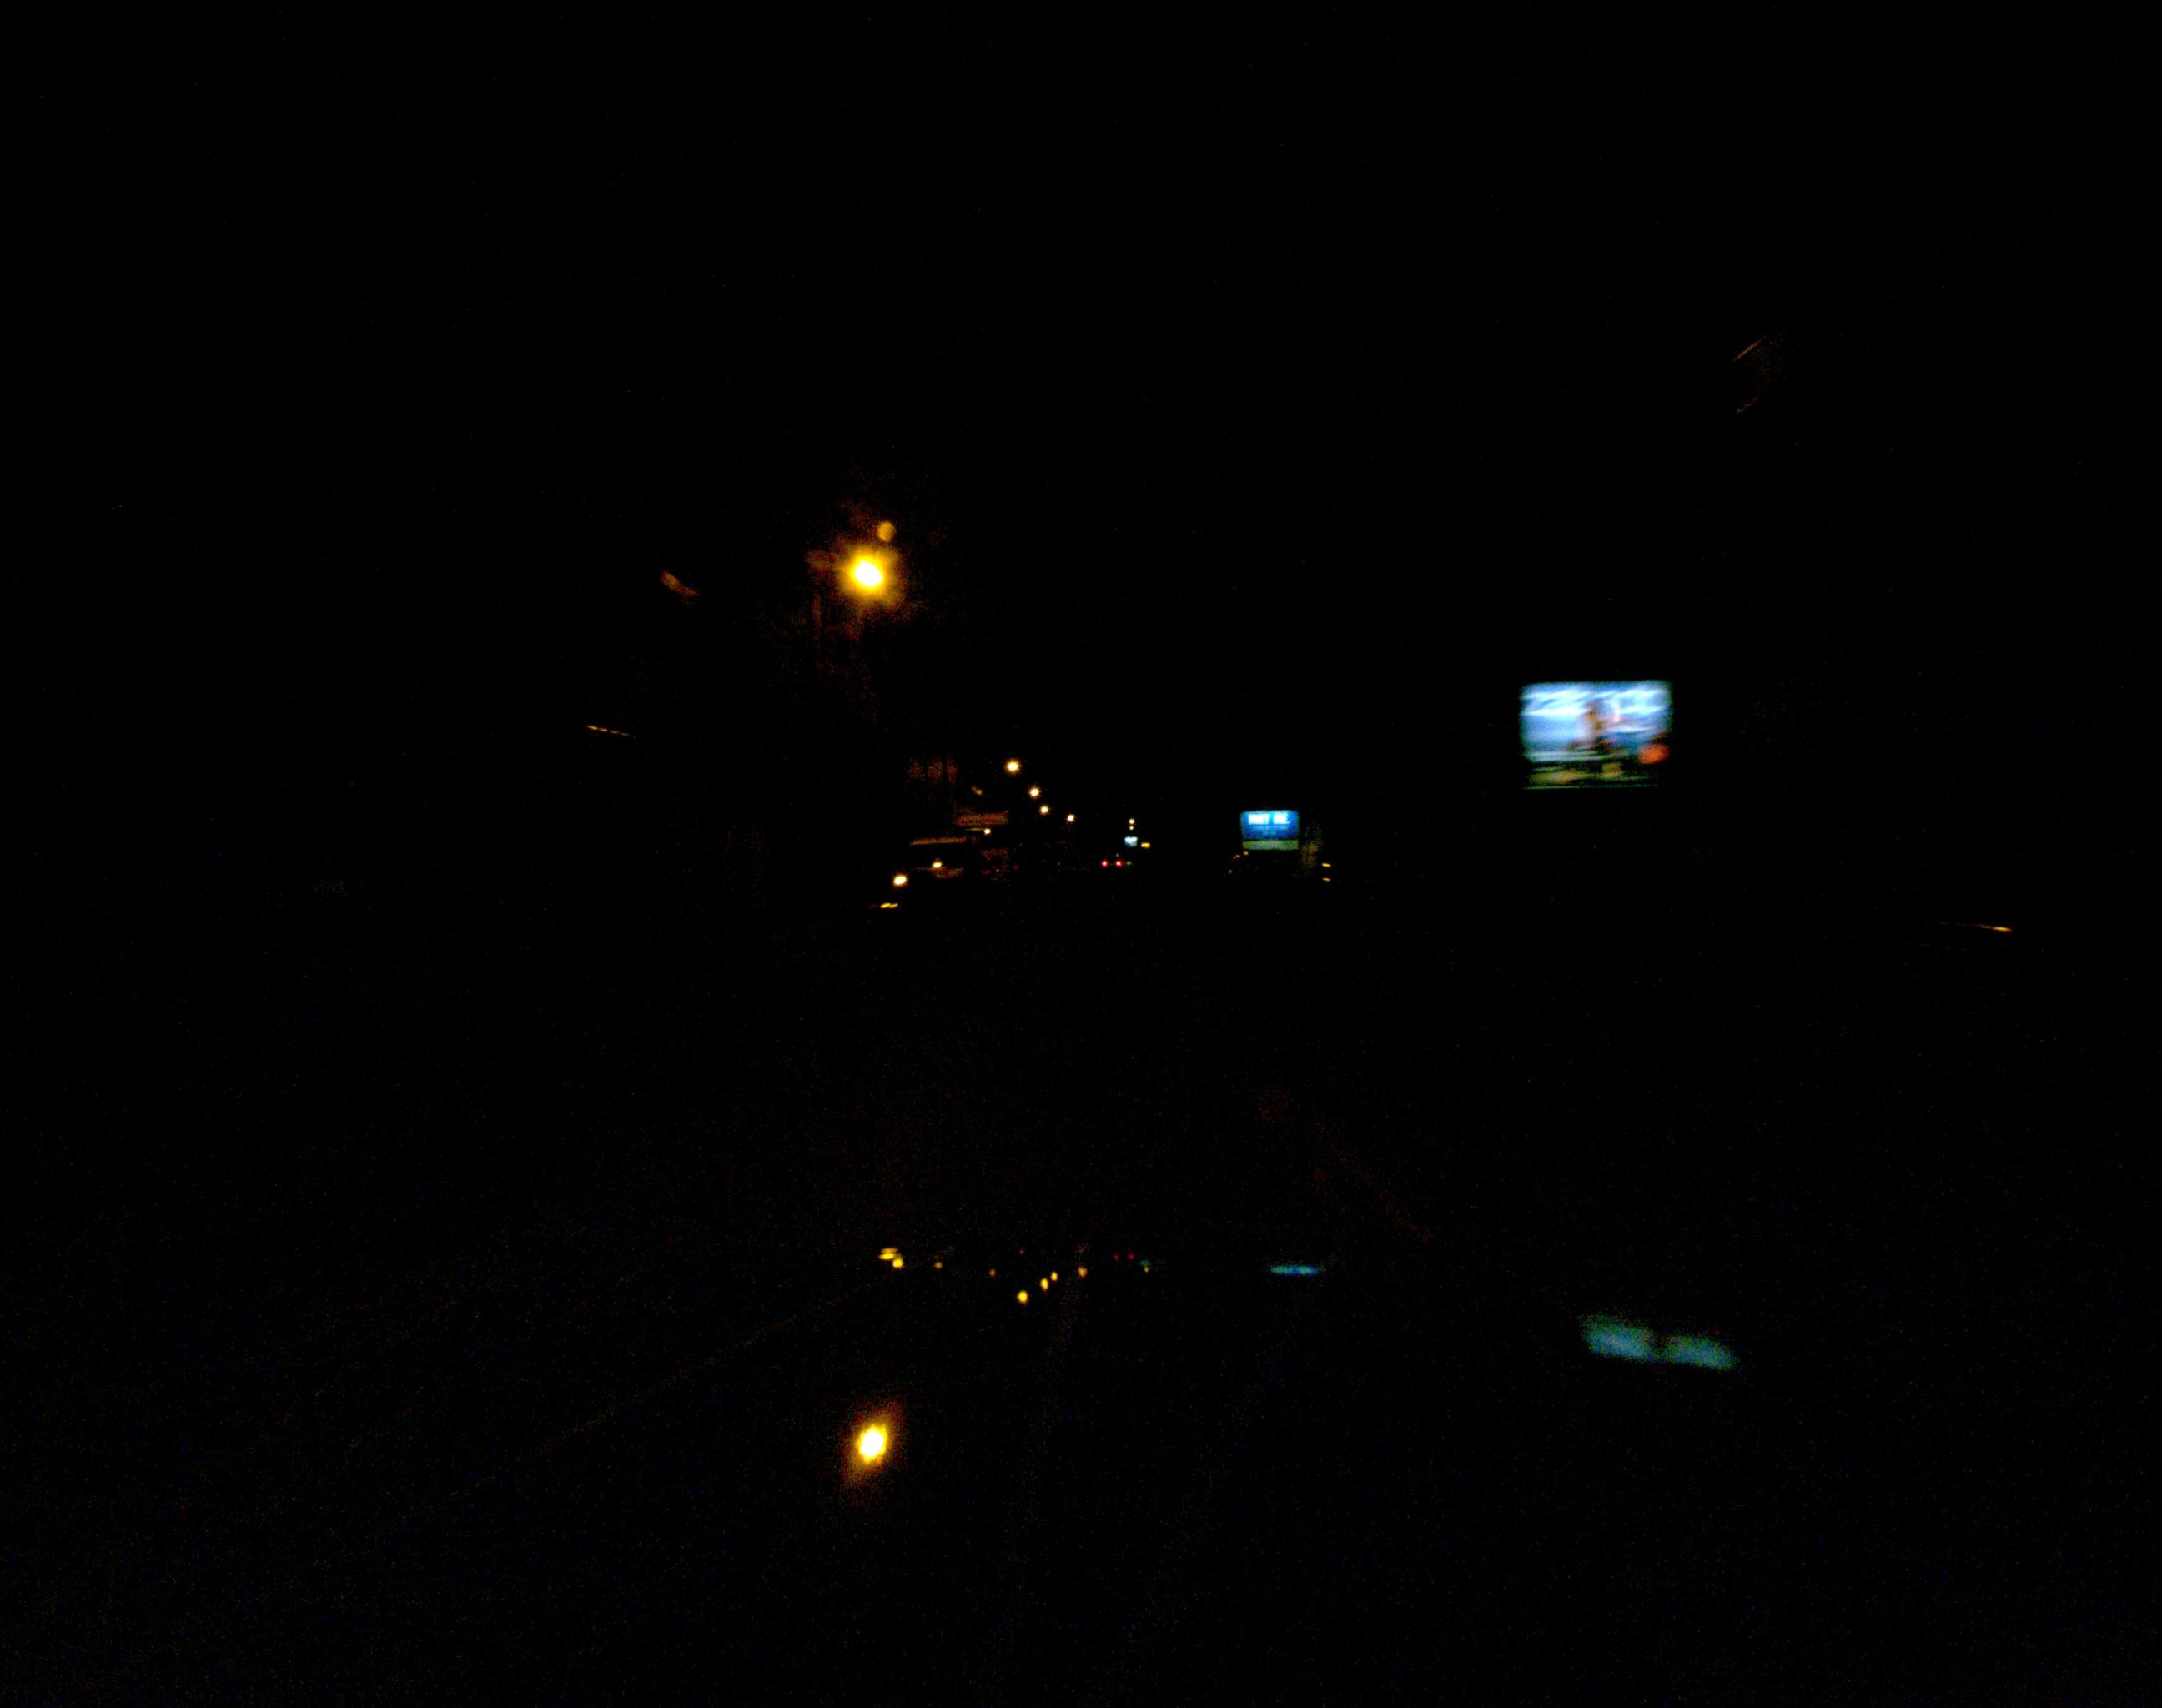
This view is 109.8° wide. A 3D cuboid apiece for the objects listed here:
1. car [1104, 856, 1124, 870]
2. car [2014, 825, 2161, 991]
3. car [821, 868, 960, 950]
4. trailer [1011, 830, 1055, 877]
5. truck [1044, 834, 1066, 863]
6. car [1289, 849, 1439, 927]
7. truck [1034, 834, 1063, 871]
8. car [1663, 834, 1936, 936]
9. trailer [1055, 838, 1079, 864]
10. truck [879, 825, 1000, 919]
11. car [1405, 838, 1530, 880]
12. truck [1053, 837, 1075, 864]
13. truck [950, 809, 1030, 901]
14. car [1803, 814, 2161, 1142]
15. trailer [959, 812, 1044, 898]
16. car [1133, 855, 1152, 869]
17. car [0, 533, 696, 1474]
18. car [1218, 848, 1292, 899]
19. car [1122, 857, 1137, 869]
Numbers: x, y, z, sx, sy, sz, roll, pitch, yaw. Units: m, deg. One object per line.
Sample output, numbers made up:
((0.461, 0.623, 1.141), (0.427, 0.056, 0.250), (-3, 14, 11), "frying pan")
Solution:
((3.368, 0.907, 78.386), (1.825, 1.429, 4.398), (-1, 0, 1), "car")
((12.191, 0.461, 8.113), (4.679, 1.542, 1.995), (-1, 0, -29), "car")
((-4.133, 1.119, 17.344), (1.834, 1.399, 4.908), (-4, 0, 0), "car")
((-3.780, -0.047, 61.823), (2.885, 3.503, 8.283), (-1, 0, 1), "trailer")
((-3.890, -0.768, 114.716), (2.660, 3.850, 10.233), (-3, -2, 1), "truck")
((6.884, 0.746, 19.129), (1.952, 1.678, 4.816), (-1, 0, 0), "car")
((-3.755, -0.074, 89.022), (2.797, 3.946, 9.821), (-3, -1, 0), "truck")
((12.837, 0.459, 13.572), (4.420, 1.551, 1.996), (-1, 0, -24), "car")
((-2.451, -0.605, 139.575), (3.072, 4.449, 13.414), (-2, 0, 4), "trailer")
((-4.305, 0.506, 24.505), (2.407, 2.579, 6.598), (-1, 0, 2), "truck")
((16.594, 0.220, 32.796), (4.410, 1.644, 1.922), (-1, 0, 3), "car")
((-2.974, -0.563, 132.858), (3.072, 4.449, 5.636), (-2, 1, 4), "truck")
((-3.987, 0.016, 34.397), (2.772, 3.742, 5.228), (-3, 1, 1), "truck")
((6.957, 0.679, 4.135), (1.818, 1.838, 4.414), (-1, 0, -1), "car")
((-3.919, 0.006, 41.426), (2.772, 3.742, 14.655), (-3, 0, 1), "trailer")
((6.699, 0.852, 82.794), (1.761, 1.382, 4.309), (-1, 0, 2), "car")
((-3.954, 0.441, 2.640), (1.998, 2.556, 6.014), (-4, 0, 0), "car")
((6.728, 0.713, 29.847), (1.809, 1.788, 4.878), (-1, 0, 1), "car")
((6.480, 1.195, 101.591), (1.690, 1.357, 3.879), (-3, 0, 1), "car")
